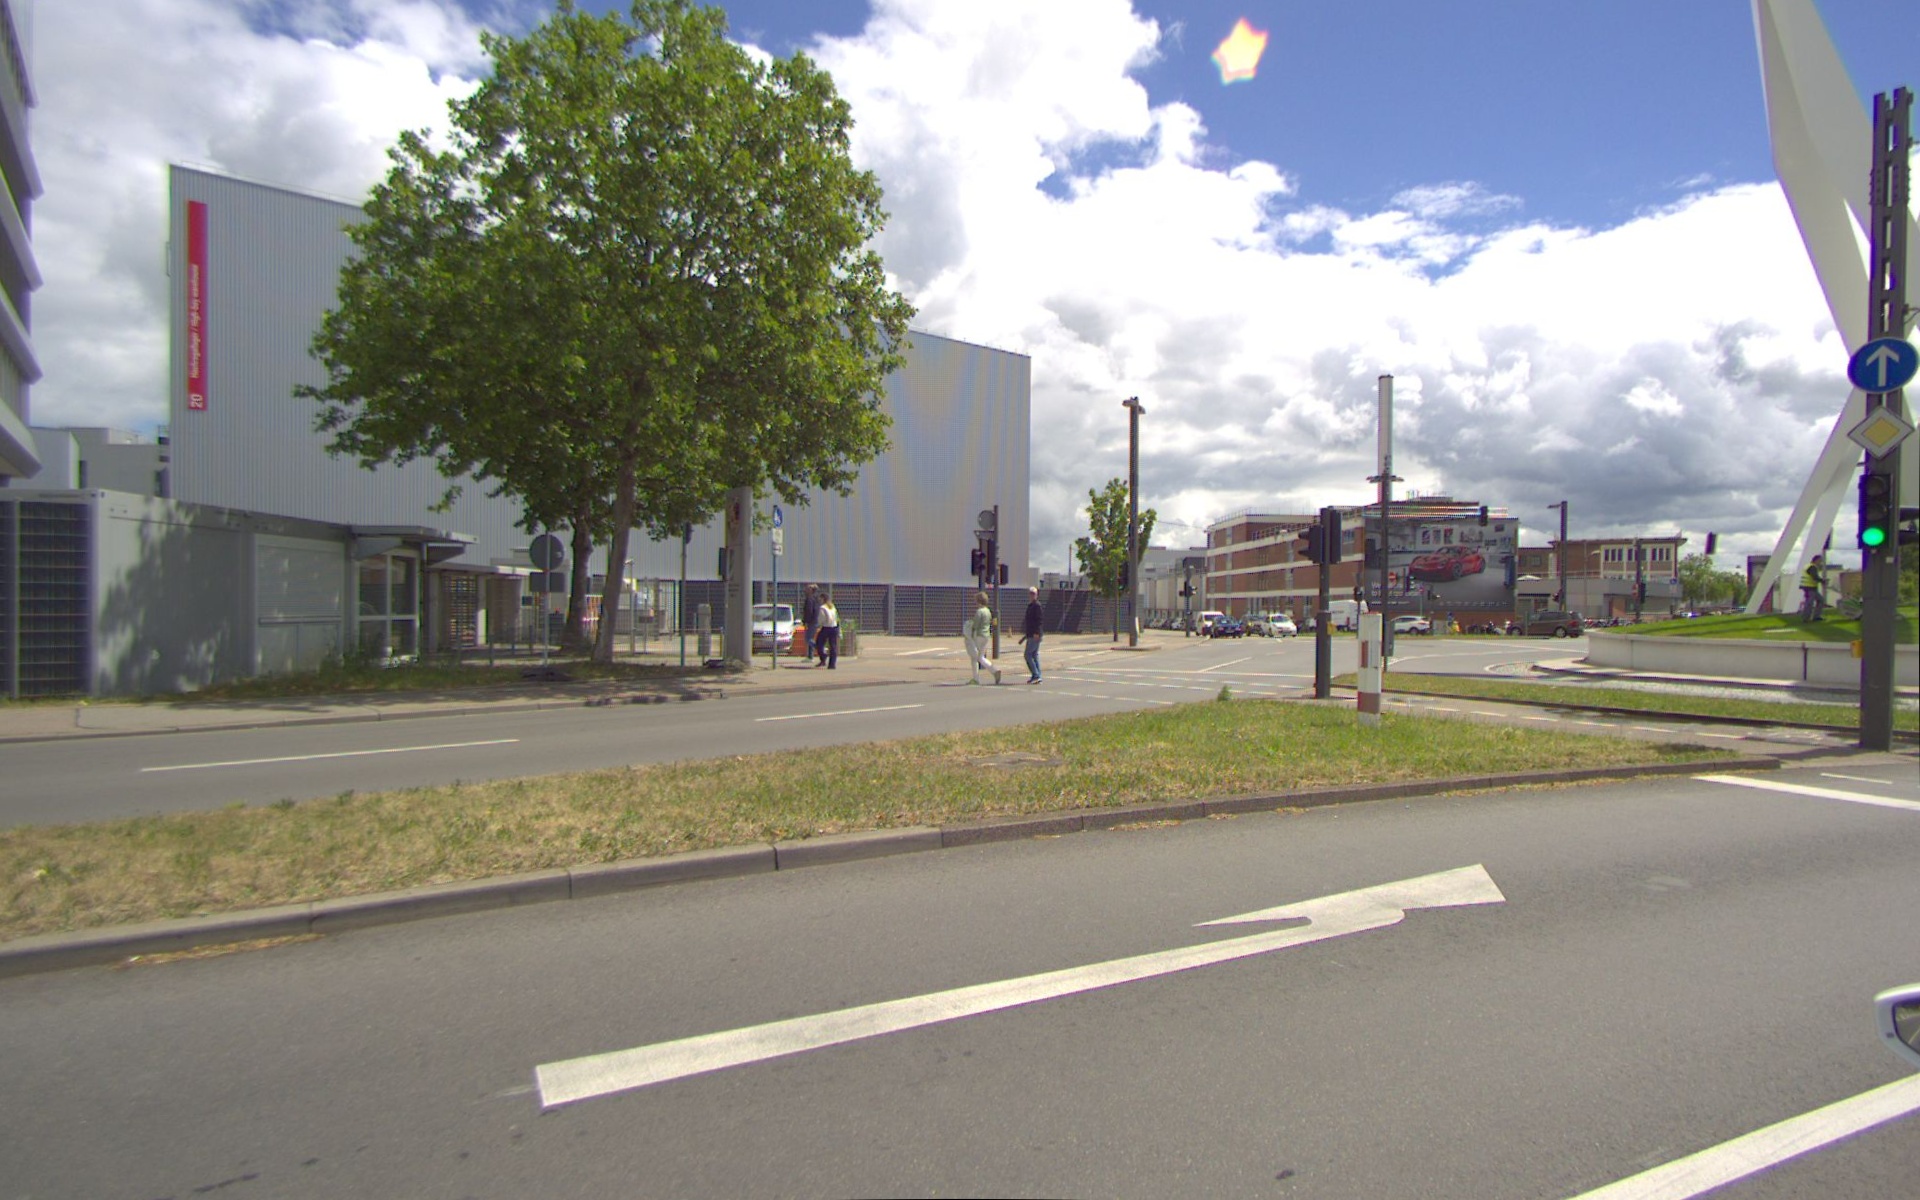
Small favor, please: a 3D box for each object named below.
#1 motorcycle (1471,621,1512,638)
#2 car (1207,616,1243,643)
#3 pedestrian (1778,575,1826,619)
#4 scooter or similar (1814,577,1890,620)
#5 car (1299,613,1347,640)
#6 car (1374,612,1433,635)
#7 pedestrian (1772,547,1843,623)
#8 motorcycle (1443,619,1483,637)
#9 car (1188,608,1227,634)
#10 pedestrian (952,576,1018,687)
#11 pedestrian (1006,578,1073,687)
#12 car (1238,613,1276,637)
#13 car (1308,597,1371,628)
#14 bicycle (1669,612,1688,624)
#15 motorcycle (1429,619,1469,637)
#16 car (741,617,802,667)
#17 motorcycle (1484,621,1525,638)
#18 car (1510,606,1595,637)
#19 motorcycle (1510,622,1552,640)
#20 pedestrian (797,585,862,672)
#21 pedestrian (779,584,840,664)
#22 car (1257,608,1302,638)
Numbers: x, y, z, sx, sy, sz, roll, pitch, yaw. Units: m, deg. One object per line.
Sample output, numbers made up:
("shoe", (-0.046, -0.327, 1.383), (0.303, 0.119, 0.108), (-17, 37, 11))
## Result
("motorcycle", (41.310, 2.274, 78.141), (0.906, 1.212, 2.899), (2, 0, -20))
("car", (17.342, 1.892, 65.885), (1.766, 1.577, 3.960), (2, 0, 7))
("pedestrian", (29.656, -0.096, 35.376), (0.949, 1.424, 0.853), (2, -6, -16))
("scooter or similar", (22.851, -0.039, 25.772), (1.381, 1.040, 0.548), (-1, 4, 33))
("car", (24.091, 1.729, 66.830), (1.960, 1.598, 4.001), (2, 0, 5))
("car", (34.379, 1.806, 77.947), (1.969, 1.520, 3.984), (2, 0, -18))
("pedestrian", (22.075, -0.382, 26.199), (1.265, 1.841, 0.983), (-3, 3, 35))
("motorcycle", (38.863, 2.162, 77.619), (0.906, 1.212, 2.899), (2, 0, -20))
("car", (17.424, 1.426, 70.950), (1.960, 1.645, 4.293), (2, 0, 5))
("pedestrian", (0.472, 0.602, 19.530), (0.936, 2.083, 0.951), (2, 1, -20))
("pedestrian", (1.565, 0.626, 19.814), (0.936, 2.083, 0.951), (2, 1, -20))
("car", (22.178, 1.846, 75.077), (1.789, 1.577, 4.226), (2, 0, 4))
("car", (28.817, 0.912, 76.451), (1.969, 2.200, 4.636), (2, 0, -18))
("bicycle", (52.481, 1.306, 73.347), (1.591, 0.878, 0.489), (1, 0, -28))
("motorcycle", (37.556, 2.123, 77.231), (0.906, 1.212, 2.899), (2, 0, -20))
("car", (-5.731, 1.224, 30.507), (1.690, 1.377, 3.992), (0, -1, -11))
("motorcycle", (42.405, 2.301, 78.286), (0.906, 1.212, 2.899), (2, 0, -20))
("car", (35.809, 1.292, 60.794), (1.978, 1.658, 3.965), (2, 1, -32))
("motorcycle", (44.836, 2.416, 78.909), (0.906, 1.212, 2.899), (2, 0, -20))
("pedestrian", (-2.816, 0.598, 21.711), (0.852, 1.797, 1.031), (3, 1, 38))
("pedestrian", (-3.498, 0.554, 23.369), (0.852, 1.797, 1.031), (3, 1, 38))
("car", (21.123, 1.495, 66.562), (1.874, 1.820, 3.776), (2, 0, 2))
